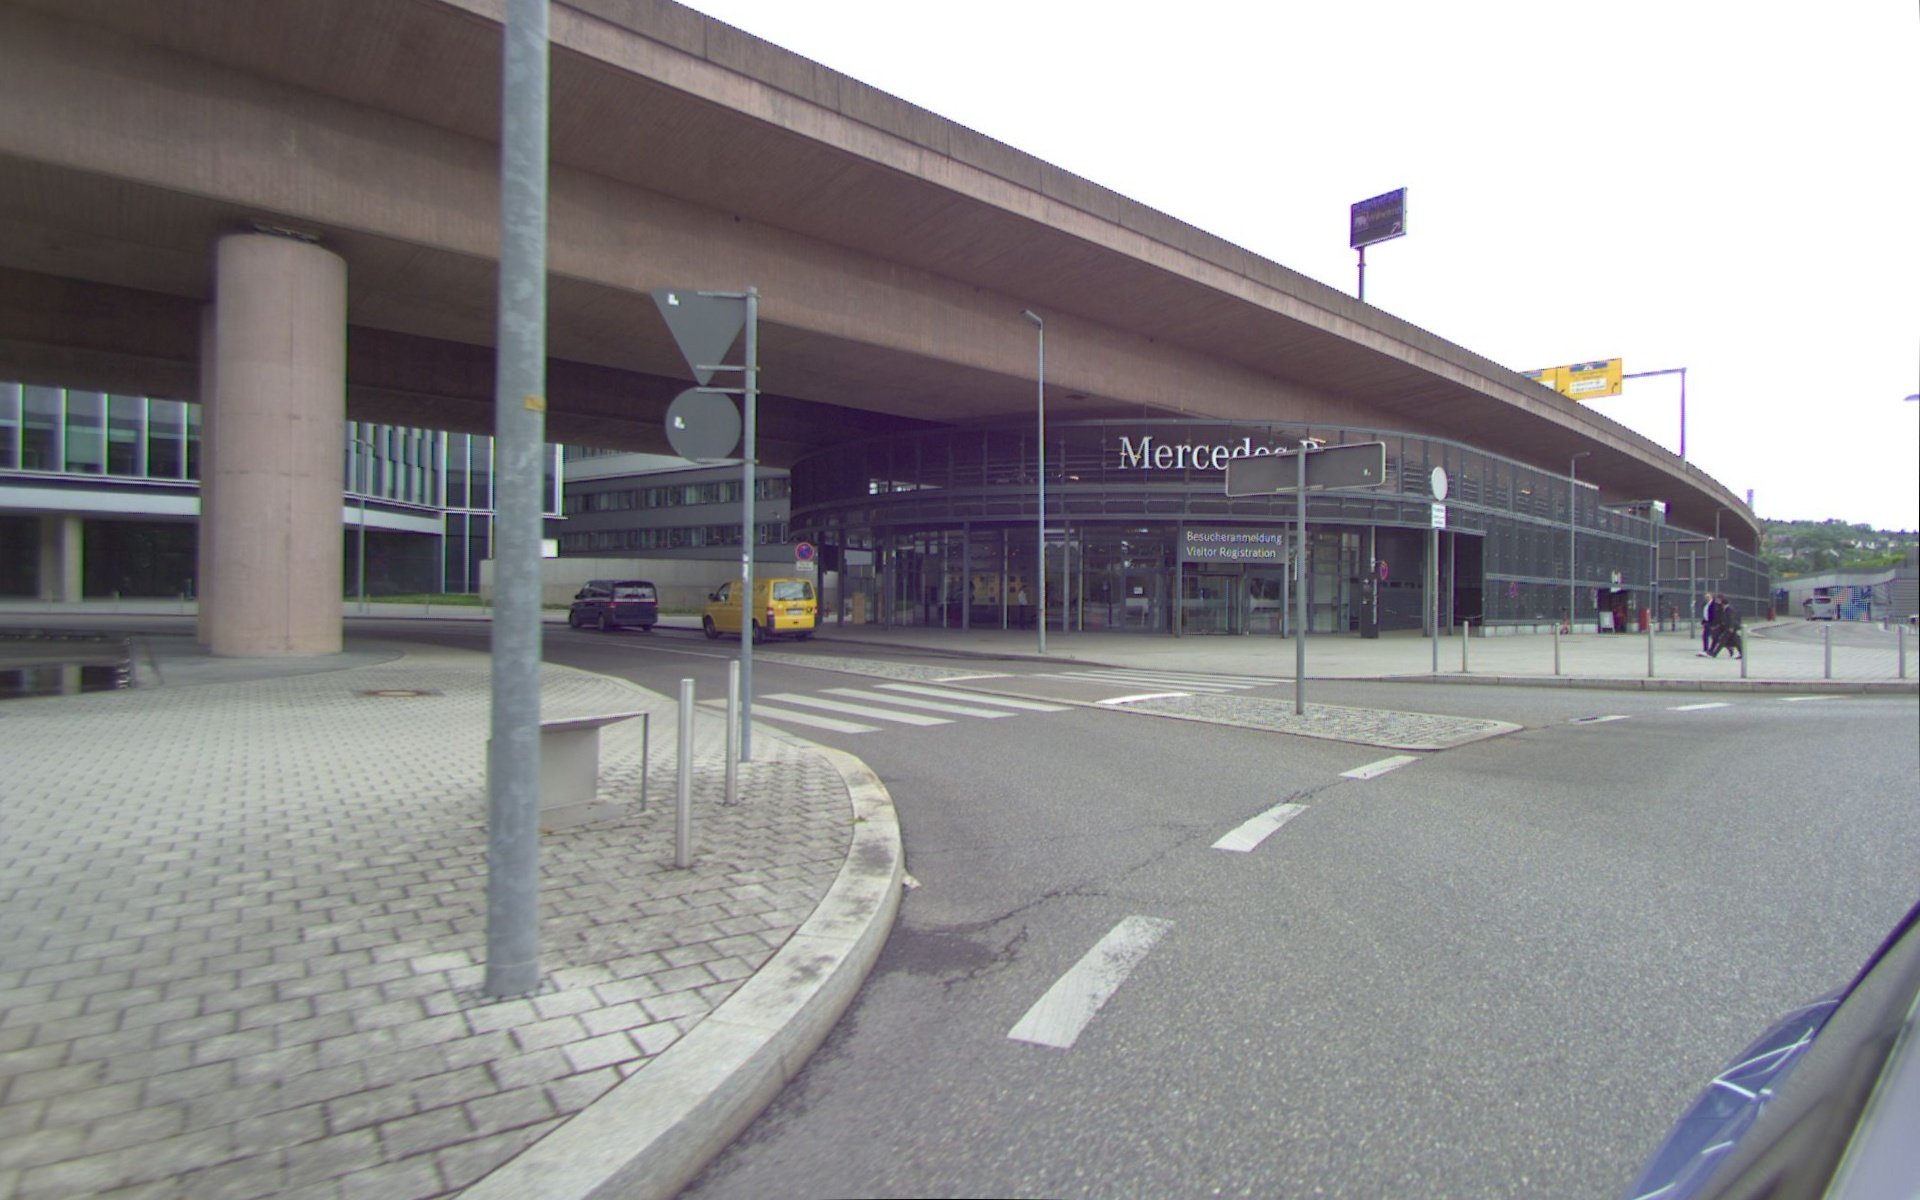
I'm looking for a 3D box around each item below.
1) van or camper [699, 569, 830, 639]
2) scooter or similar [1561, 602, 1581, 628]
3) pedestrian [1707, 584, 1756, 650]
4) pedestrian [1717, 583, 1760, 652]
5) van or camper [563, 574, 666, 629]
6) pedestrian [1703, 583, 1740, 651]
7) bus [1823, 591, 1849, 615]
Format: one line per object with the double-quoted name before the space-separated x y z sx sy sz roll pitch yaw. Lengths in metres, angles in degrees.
"van or camper" -6.214 0.083 31.814 2.318 2.024 4.503 1 1 -36
"scooter or similar" 27.429 0.658 45.405 1.403 1.137 0.380 2 -1 -43
"pedestrian" 20.729 0.445 27.192 0.761 1.727 0.783 2 -1 14
"pedestrian" 20.236 0.446 26.327 0.767 1.727 0.855 1 -1 32
"van or camper" -13.102 0.030 38.193 2.115 1.917 4.897 2 0 -39
"pedestrian" 21.170 0.466 28.139 0.778 1.821 0.854 1 -1 36
"bus" 132.596 0.489 153.256 2.920 3.485 6.863 1 -1 41
